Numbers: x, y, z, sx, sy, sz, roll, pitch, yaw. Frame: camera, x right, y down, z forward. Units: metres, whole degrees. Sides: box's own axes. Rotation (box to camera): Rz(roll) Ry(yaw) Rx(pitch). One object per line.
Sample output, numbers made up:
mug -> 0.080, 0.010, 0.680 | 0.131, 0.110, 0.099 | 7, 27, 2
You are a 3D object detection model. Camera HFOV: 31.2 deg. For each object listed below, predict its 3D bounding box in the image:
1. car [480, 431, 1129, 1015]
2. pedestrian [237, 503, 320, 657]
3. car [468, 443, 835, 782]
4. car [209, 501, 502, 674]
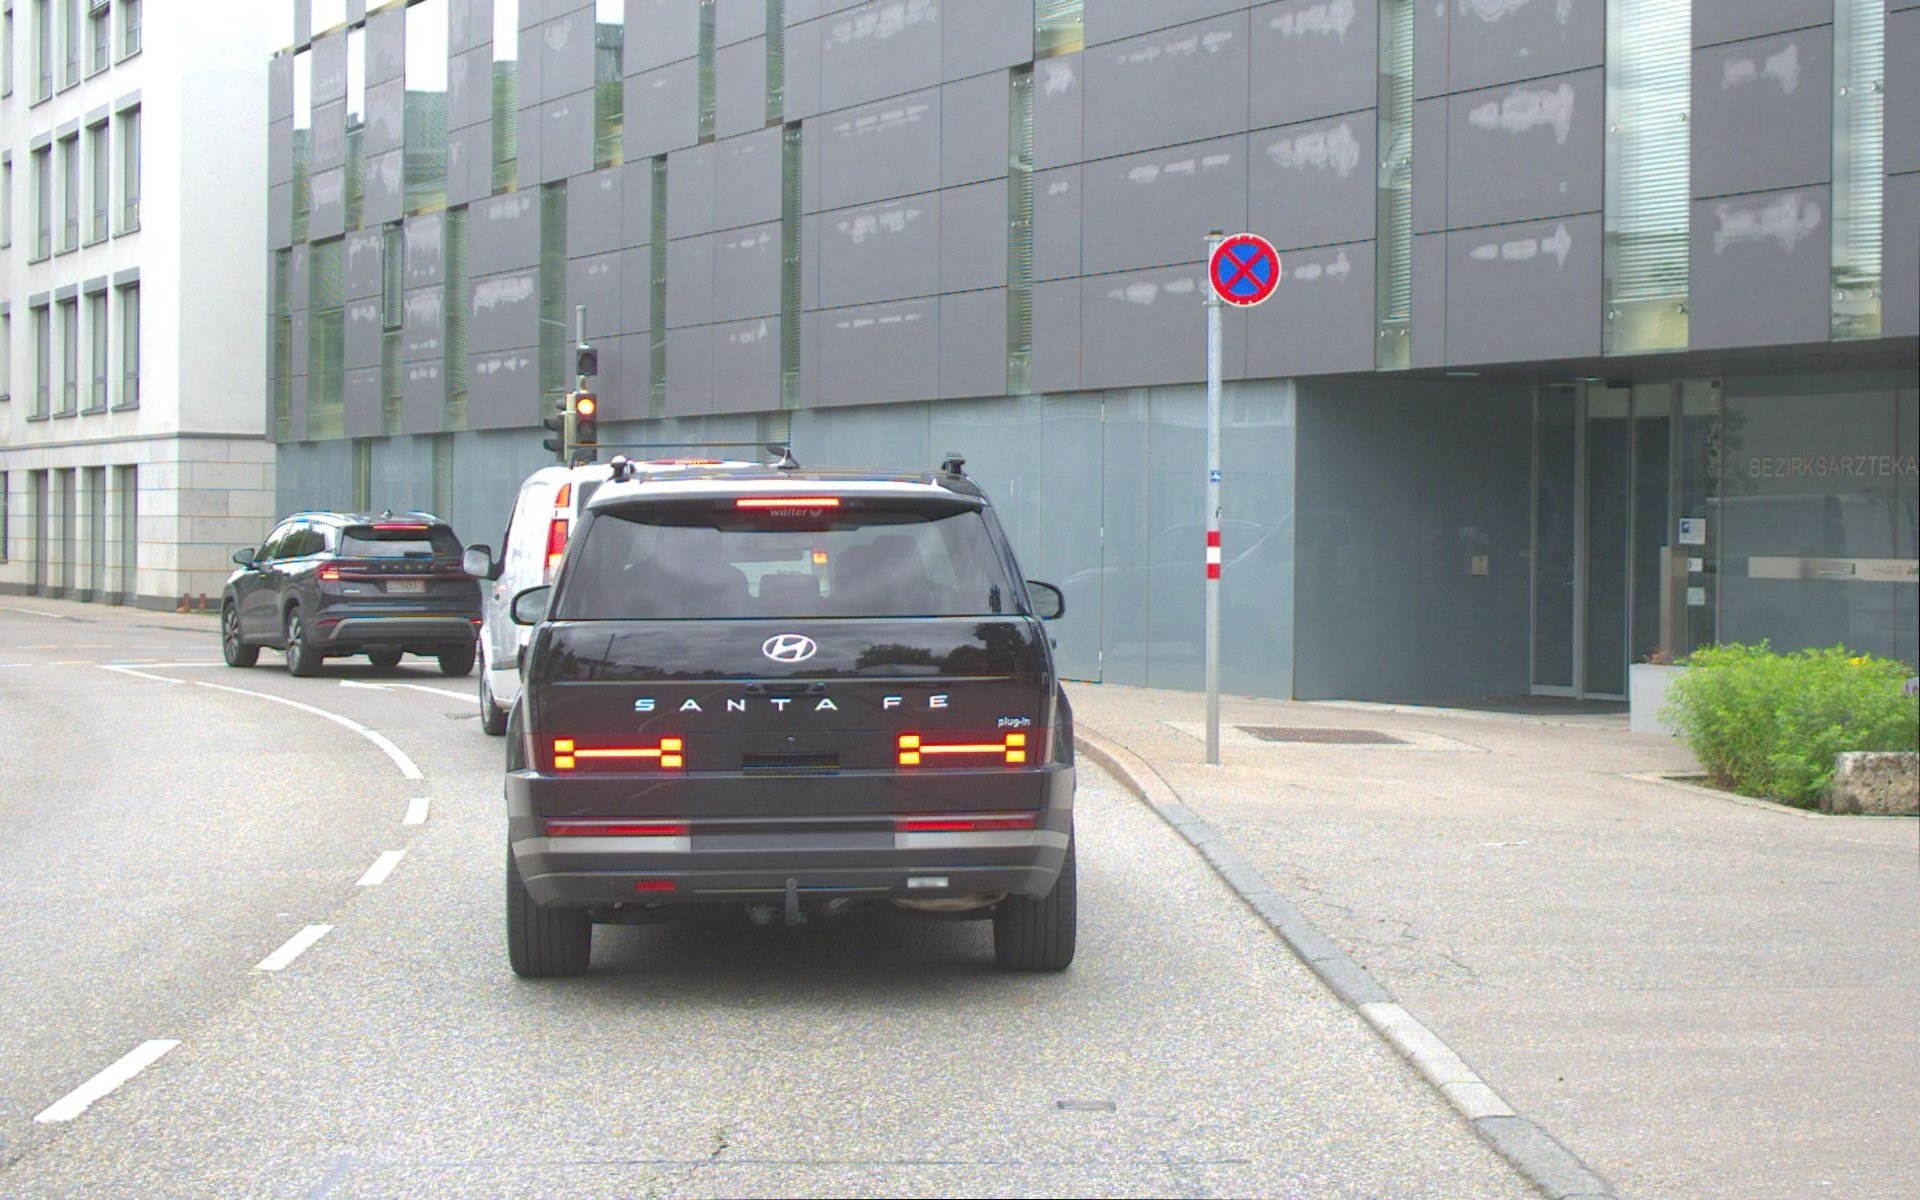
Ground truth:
car -> -0.632, 0.336, 12.570 | 1.915, 1.719, 4.171 | 2, 1, -5
pedestrian -> -8.032, -0.243, 40.507 | 0.938, 1.794, 0.591 | 0, 1, -13
car -> -2.157, 0.015, 22.869 | 1.855, 2.026, 4.439 | 0, 2, -13
car -> -6.328, -0.153, 35.617 | 1.847, 1.671, 4.376 | -1, 1, -26
